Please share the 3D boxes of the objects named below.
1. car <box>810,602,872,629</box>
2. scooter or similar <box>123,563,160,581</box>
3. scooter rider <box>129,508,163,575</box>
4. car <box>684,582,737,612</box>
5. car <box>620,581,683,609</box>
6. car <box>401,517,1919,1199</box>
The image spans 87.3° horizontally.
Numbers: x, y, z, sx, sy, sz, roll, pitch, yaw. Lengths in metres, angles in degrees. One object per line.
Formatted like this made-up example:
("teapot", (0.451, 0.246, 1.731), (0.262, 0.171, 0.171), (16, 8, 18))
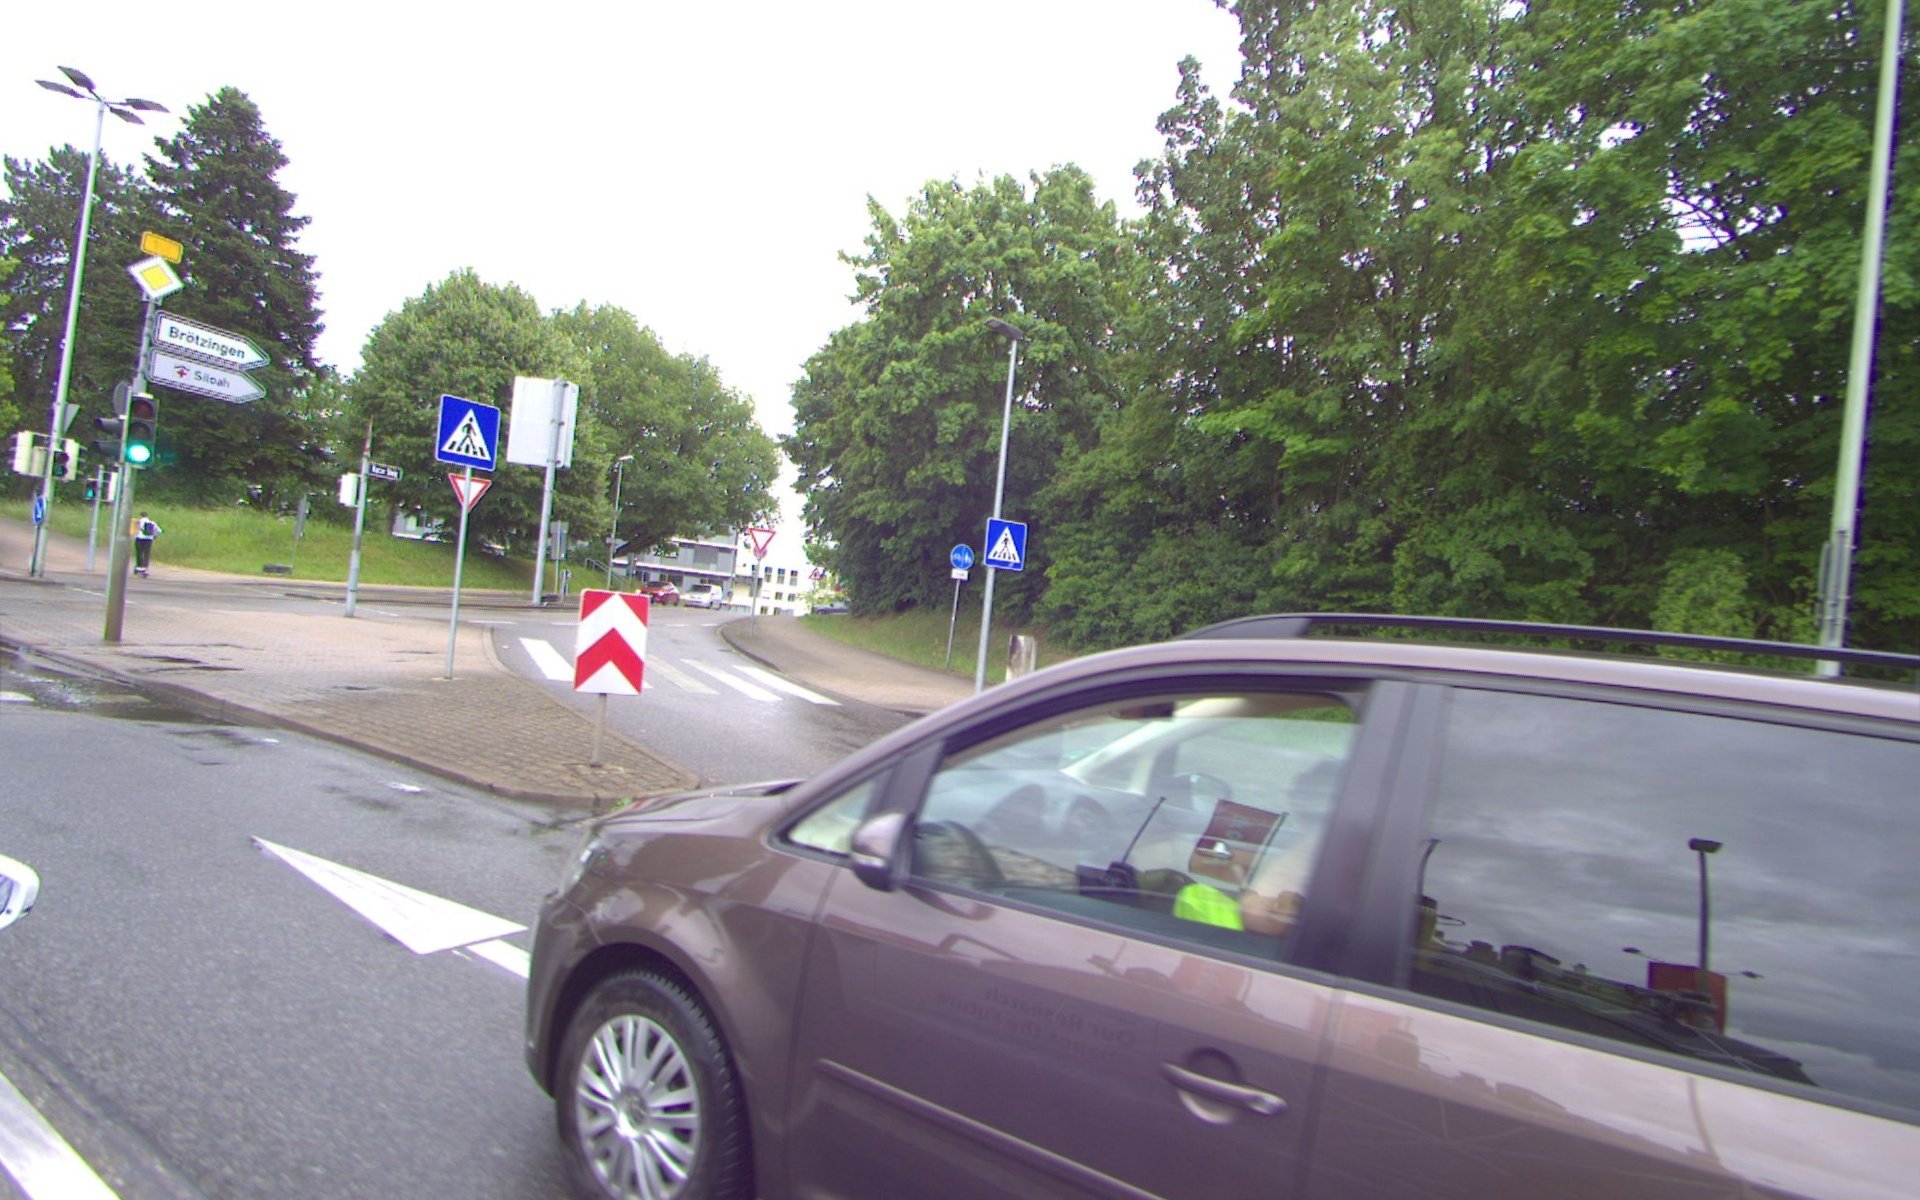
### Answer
("car", (-8.036, 1.020, 67.762), (3.931, 1.446, 1.849), (5, 0, -10))
("scooter or similar", (-25.379, -0.875, 31.189), (1.235, 0.408, 0.487), (7, 0, 31))
("scooter rider", (-25.204, -1.813, 31.150), (0.538, 1.990, 0.501), (7, 1, 31))
("car", (-17.832, -0.197, 71.984), (1.817, 1.882, 4.000), (5, 0, 16))
("car", (-18.355, -0.267, 60.031), (1.817, 1.446, 4.001), (5, 0, 12))
("car", (0.748, 0.849, 2.316), (3.915, 1.628, 1.750), (6, -2, 32))
